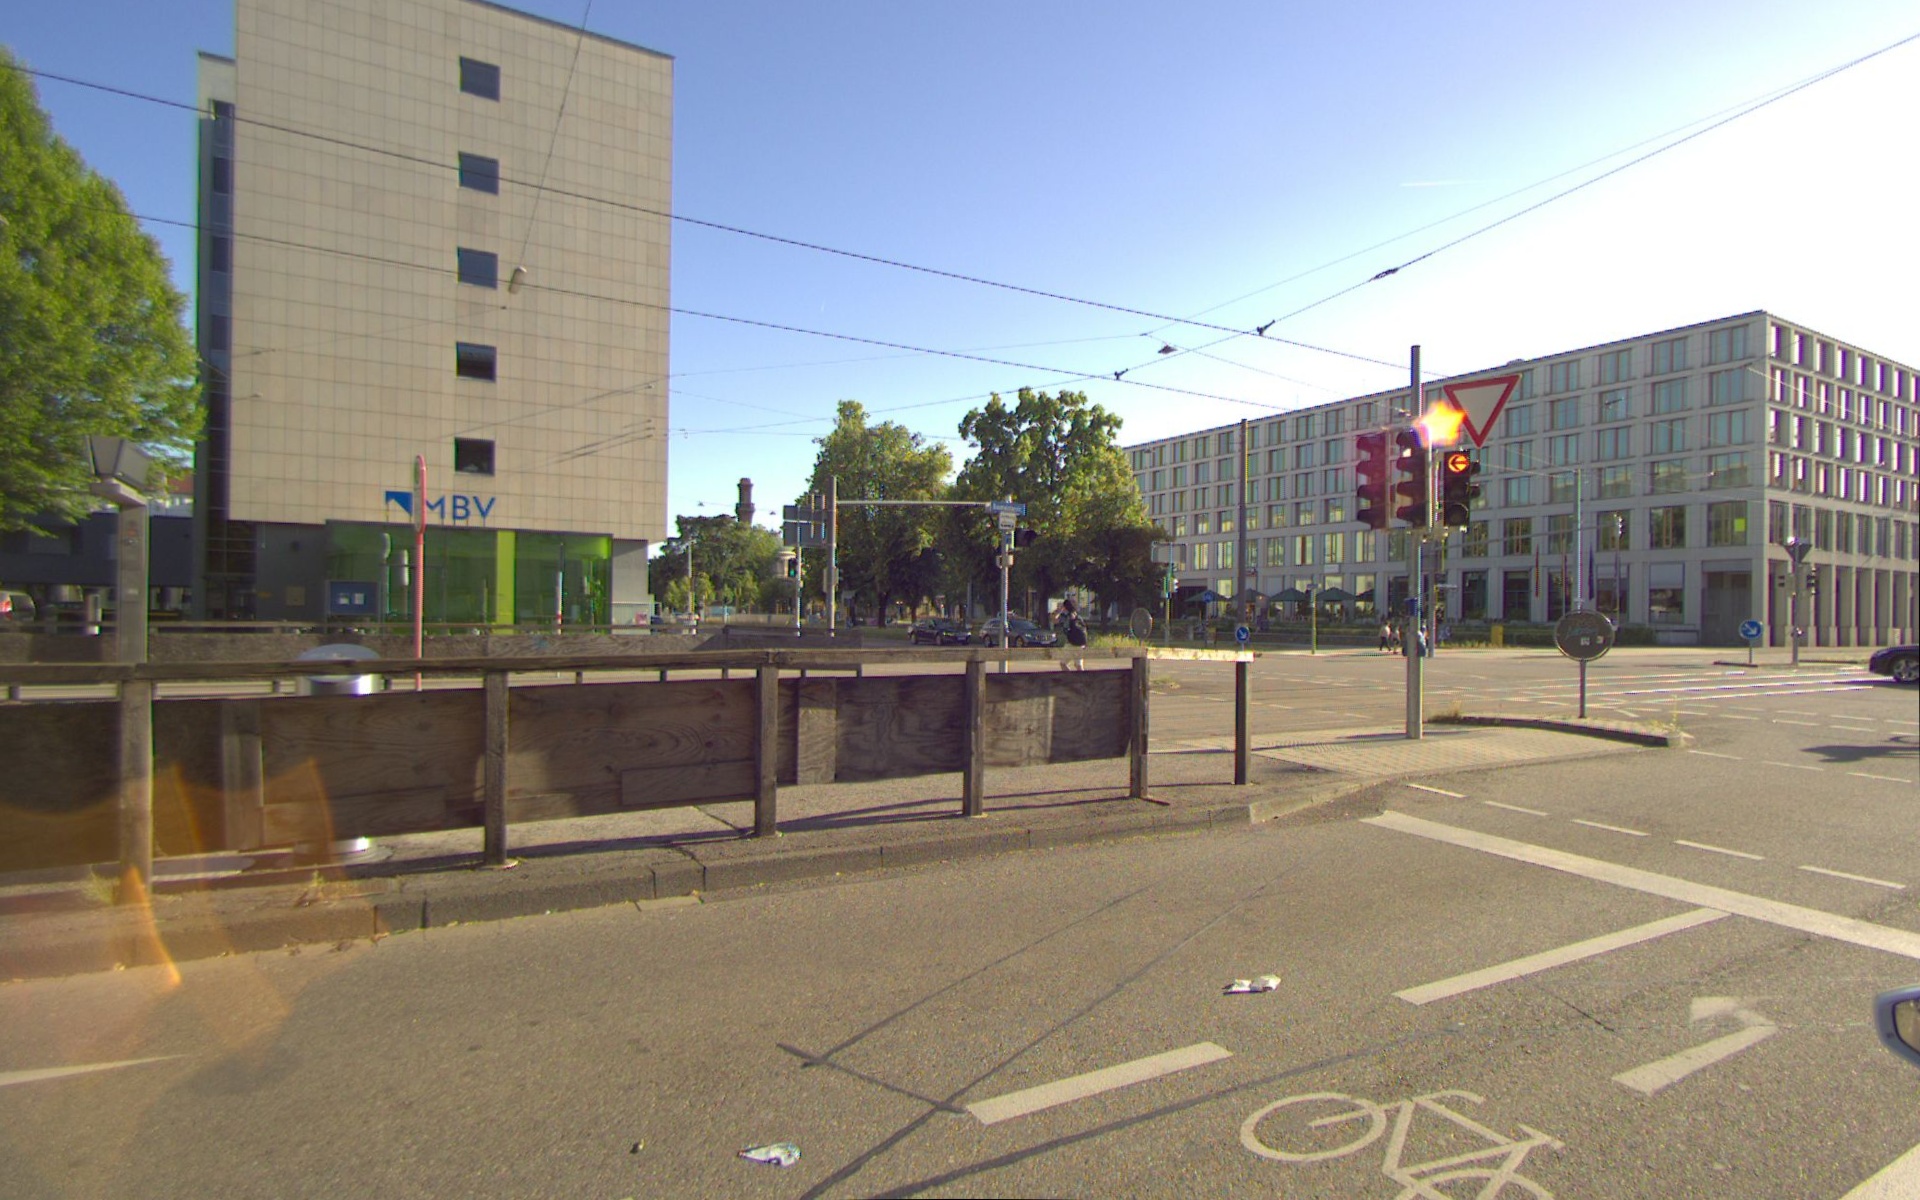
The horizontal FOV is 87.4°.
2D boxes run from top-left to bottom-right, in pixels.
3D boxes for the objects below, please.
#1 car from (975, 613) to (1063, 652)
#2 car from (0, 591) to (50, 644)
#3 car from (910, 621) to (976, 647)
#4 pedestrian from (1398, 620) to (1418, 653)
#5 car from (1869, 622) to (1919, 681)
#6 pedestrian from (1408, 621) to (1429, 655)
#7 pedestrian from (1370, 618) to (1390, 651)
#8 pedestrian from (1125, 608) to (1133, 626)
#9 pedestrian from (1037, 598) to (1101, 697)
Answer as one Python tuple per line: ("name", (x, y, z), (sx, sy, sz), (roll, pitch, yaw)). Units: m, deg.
("car", (2.748, 1.513, 47.716), (1.833, 1.602, 4.486), (1, 1, -34))
("car", (-27.722, 0.450, 27.803), (3.371, 1.431, 1.562), (2, 0, -20))
("car", (-0.955, 1.807, 54.296), (1.755, 1.311, 4.209), (1, -1, -30))
("pedestrian", (23.164, 1.881, 51.942), (0.615, 1.666, 0.690), (1, -1, -34))
("car", (25.275, 1.345, 24.137), (1.978, 1.433, 4.710), (4, -2, -31))
("pedestrian", (23.046, 1.889, 50.481), (0.615, 1.666, 0.787), (1, -1, -34))
("pedestrian", (21.886, 1.796, 52.337), (0.612, 1.666, 0.692), (1, -1, -23))
("pedestrian", (16.202, 1.630, 96.232), (0.556, 1.691, 0.537), (2, 0, -33))
("pedestrian", (2.001, 0.854, 18.473), (0.819, 1.740, 0.753), (1, 1, -34))
